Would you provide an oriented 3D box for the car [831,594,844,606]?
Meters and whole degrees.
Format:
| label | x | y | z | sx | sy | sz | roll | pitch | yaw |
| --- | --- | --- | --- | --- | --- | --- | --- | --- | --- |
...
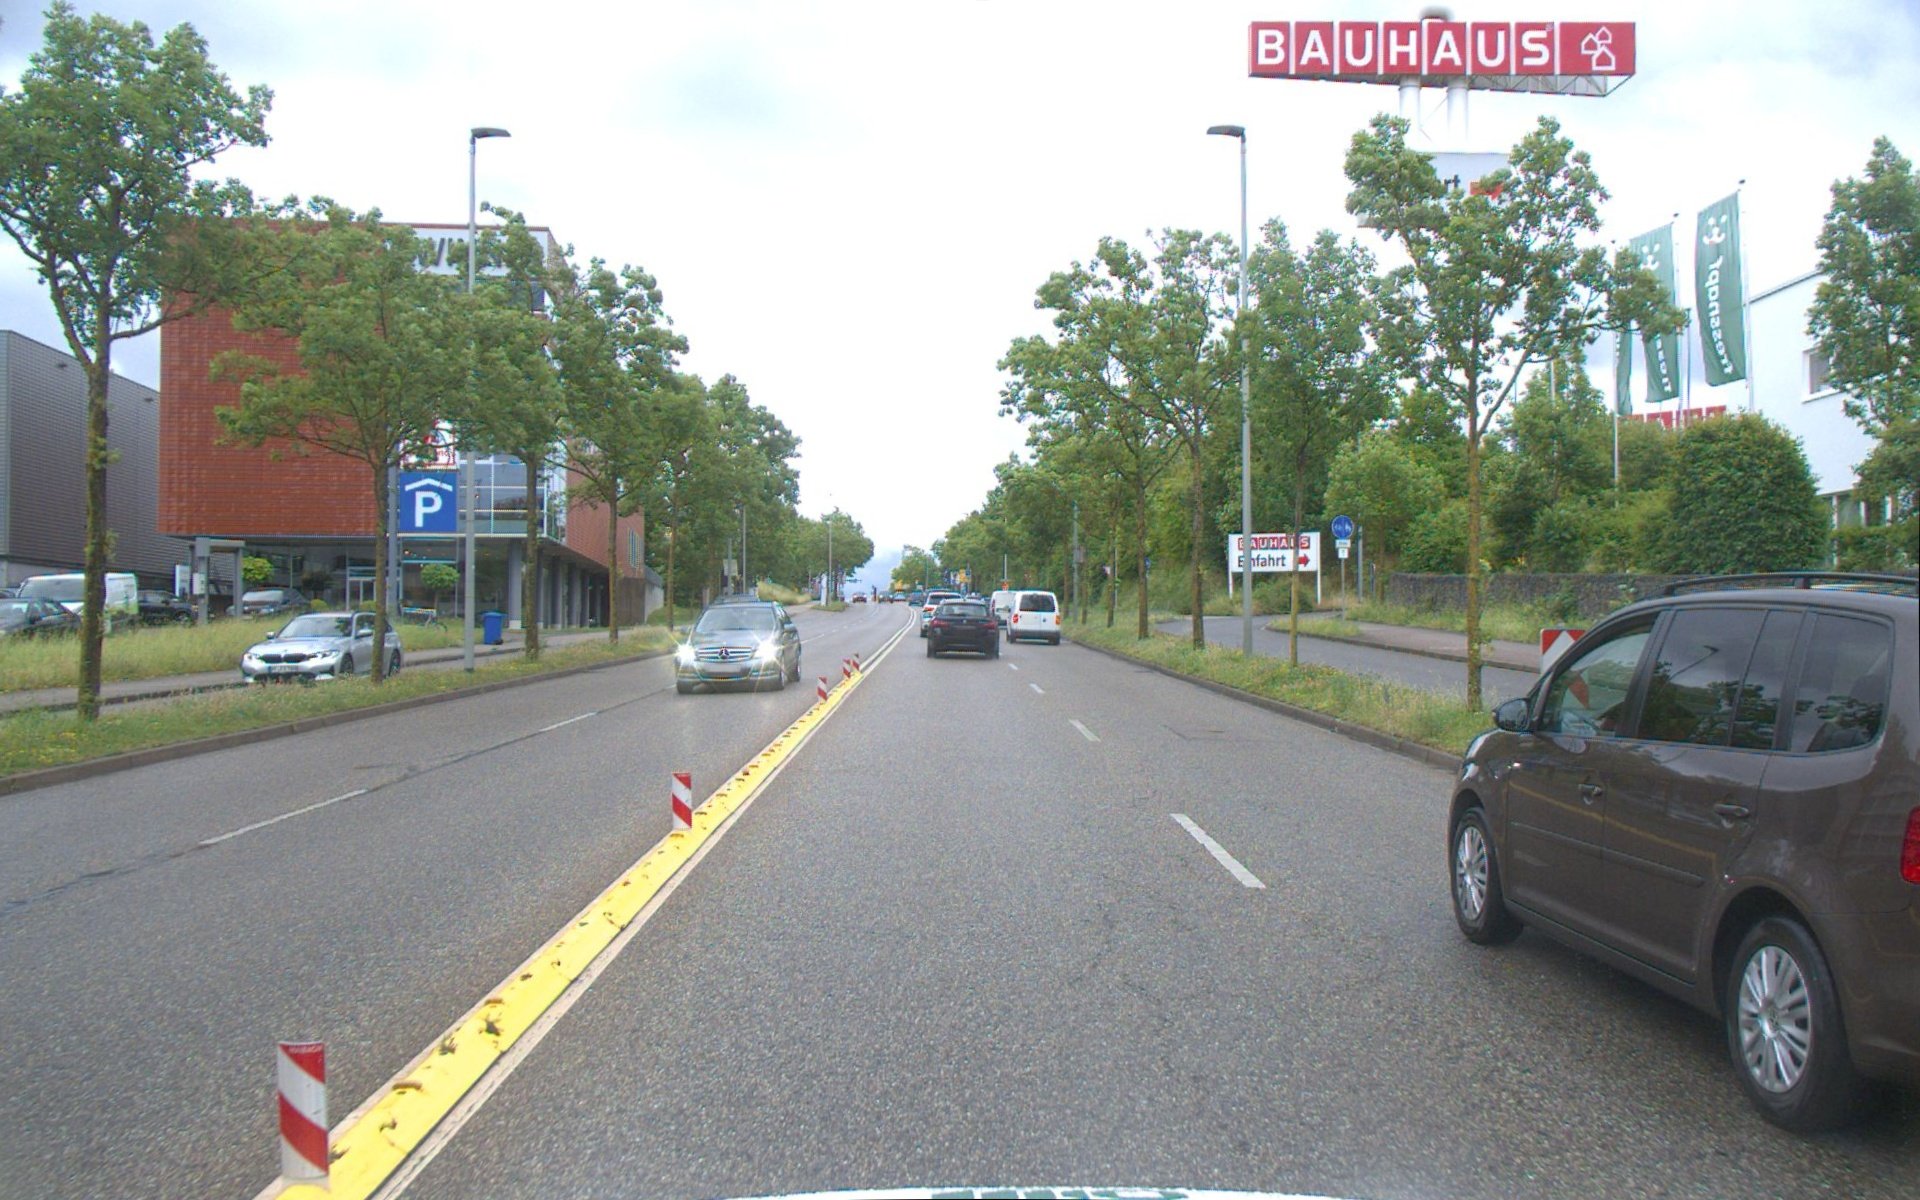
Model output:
| label | x | y | z | sx | sy | sz | roll | pitch | yaw |
| --- | --- | --- | --- | --- | --- | --- | --- | --- | --- |
| car | -16.884 | 0.049 | 227.675 | 1.759 | 1.537 | 3.996 | 2 | -1 | -4 |

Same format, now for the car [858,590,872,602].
| label | x | y | z | sx | sy | sz | roll | pitch | yaw |
| --- | --- | --- | --- | --- | --- | --- | --- | --- | --- |
| car | -12.982 | -0.506 | 225.983 | 1.759 | 1.537 | 3.996 | 2 | -1 | -4 |

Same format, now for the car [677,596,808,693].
| label | x | y | z | sx | sy | sz | roll | pitch | yaw |
| --- | --- | --- | --- | --- | --- | --- | --- | --- | --- |
| car | -3.616 | 0.693 | 28.098 | 1.633 | 1.434 | 4.377 | -2 | 0 | -1 |

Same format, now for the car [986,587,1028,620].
| label | x | y | z | sx | sy | sz | roll | pitch | yaw |
| --- | --- | --- | --- | --- | --- | --- | --- | --- | --- |
| car | 2.285 | 0.173 | 81.276 | 1.758 | 1.537 | 3.998 | 2 | -1 | -2 |

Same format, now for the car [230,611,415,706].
| label | x | y | z | sx | sy | sz | roll | pitch | yaw |
| --- | --- | --- | --- | --- | --- | --- | --- | --- | --- |
| car | -12.162 | 1.065 | 31.893 | 1.829 | 1.580 | 4.574 | -2 | 0 | -2 |

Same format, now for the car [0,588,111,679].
| label | x | y | z | sx | sy | sz | roll | pitch | yaw |
| --- | --- | --- | --- | --- | --- | --- | --- | --- | --- |
| car | -21.269 | 0.686 | 37.292 | 1.999 | 1.792 | 4.942 | 1 | 1 | -4 |

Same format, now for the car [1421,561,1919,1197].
| label | x | y | z | sx | sy | sz | roll | pitch | yaw |
| --- | --- | --- | --- | --- | --- | --- | --- | --- | --- |
| car | 3.209 | 0.723 | 6.209 | 1.651 | 1.609 | 4.217 | 1 | 0 | -2 |

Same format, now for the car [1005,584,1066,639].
| label | x | y | z | sx | sy | sz | roll | pitch | yaw |
| --- | --- | --- | --- | --- | --- | --- | --- | --- | --- |
| car | 2.599 | 0.375 | 57.826 | 1.790 | 1.789 | 3.999 | 2 | 0 | -2 |

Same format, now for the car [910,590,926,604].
| label | x | y | z | sx | sy | sz | roll | pitch | yaw |
| --- | --- | --- | --- | --- | --- | --- | --- | --- | --- |
| car | -4.735 | -0.345 | 186.445 | 1.758 | 1.537 | 3.998 | 2 | -1 | -3 |

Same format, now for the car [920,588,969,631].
| label | x | y | z | sx | sy | sz | roll | pitch | yaw |
| --- | --- | --- | --- | --- | --- | --- | --- | --- | --- |
| car | -0.605 | 0.362 | 62.497 | 1.758 | 1.537 | 3.999 | 2 | -1 | -1 |

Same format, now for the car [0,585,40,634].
| label | x | y | z | sx | sy | sz | roll | pitch | yaw |
| --- | --- | --- | --- | --- | --- | --- | --- | --- | --- |
| car | -32.848 | 0.275 | 54.468 | 4.033 | 1.536 | 1.815 | 1 | 1 | -10 |

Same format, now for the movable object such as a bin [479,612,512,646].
| label | x | y | z | sx | sy | sz | roll | pitch | yaw |
| --- | --- | --- | --- | --- | --- | --- | --- | --- | --- |
| movable object such as a bin | -16.087 | 0.992 | 57.338 | 0.802 | 1.098 | 1.086 | 3 | 0 | -1 |

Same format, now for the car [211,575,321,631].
| label | x | y | z | sx | sy | sz | roll | pitch | yaw |
| --- | --- | --- | --- | --- | --- | --- | --- | --- | --- |
| car | -24.210 | 0.070 | 57.894 | 2.095 | 1.804 | 4.605 | 1 | 1 | -3 |

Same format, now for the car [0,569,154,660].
| label | x | y | z | sx | sy | sz | roll | pitch | yaw |
| --- | --- | --- | --- | --- | --- | --- | --- | --- | --- |
| car | -22.841 | 0.317 | 42.918 | 2.075 | 2.132 | 5.111 | 1 | 1 | -10 |

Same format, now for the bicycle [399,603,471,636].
| label | x | y | z | sx | sy | sz | roll | pitch | yaw |
| --- | --- | --- | --- | --- | --- | --- | --- | --- | --- |
| bicycle | -17.854 | 0.652 | 56.289 | 2.034 | 0.951 | 1.094 | 5 | -1 | 3 |

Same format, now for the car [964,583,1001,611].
| label | x | y | z | sx | sy | sz | roll | pitch | yaw |
| --- | --- | --- | --- | --- | --- | --- | --- | --- | --- |
| car | 1.285 | -0.152 | 94.797 | 1.759 | 1.537 | 3.996 | 2 | -1 | -4 |

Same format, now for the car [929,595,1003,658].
| label | x | y | z | sx | sy | sz | roll | pitch | yaw |
| --- | --- | --- | --- | --- | --- | --- | --- | --- | --- |
| car | 0.139 | 0.642 | 42.593 | 1.790 | 1.494 | 4.000 | 1 | 0 | 0 |

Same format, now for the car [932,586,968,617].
| label | x | y | z | sx | sy | sz | roll | pitch | yaw |
| --- | --- | --- | --- | --- | --- | --- | --- | --- | --- |
| car | -0.541 | 0.102 | 85.487 | 1.758 | 1.537 | 3.999 | 2 | -1 | -1 |

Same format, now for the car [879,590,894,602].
| label | x | y | z | sx | sy | sz | roll | pitch | yaw |
| --- | --- | --- | --- | --- | --- | --- | --- | --- | --- |
| car | -9.442 | -0.525 | 212.998 | 1.759 | 1.537 | 3.996 | 2 | -1 | -4 |

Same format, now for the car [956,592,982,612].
| label | x | y | z | sx | sy | sz | roll | pitch | yaw |
| --- | --- | --- | --- | --- | --- | --- | --- | --- | --- |
| car | 0.688 | 0.198 | 132.704 | 1.759 | 1.537 | 3.996 | 2 | -1 | -4 |
